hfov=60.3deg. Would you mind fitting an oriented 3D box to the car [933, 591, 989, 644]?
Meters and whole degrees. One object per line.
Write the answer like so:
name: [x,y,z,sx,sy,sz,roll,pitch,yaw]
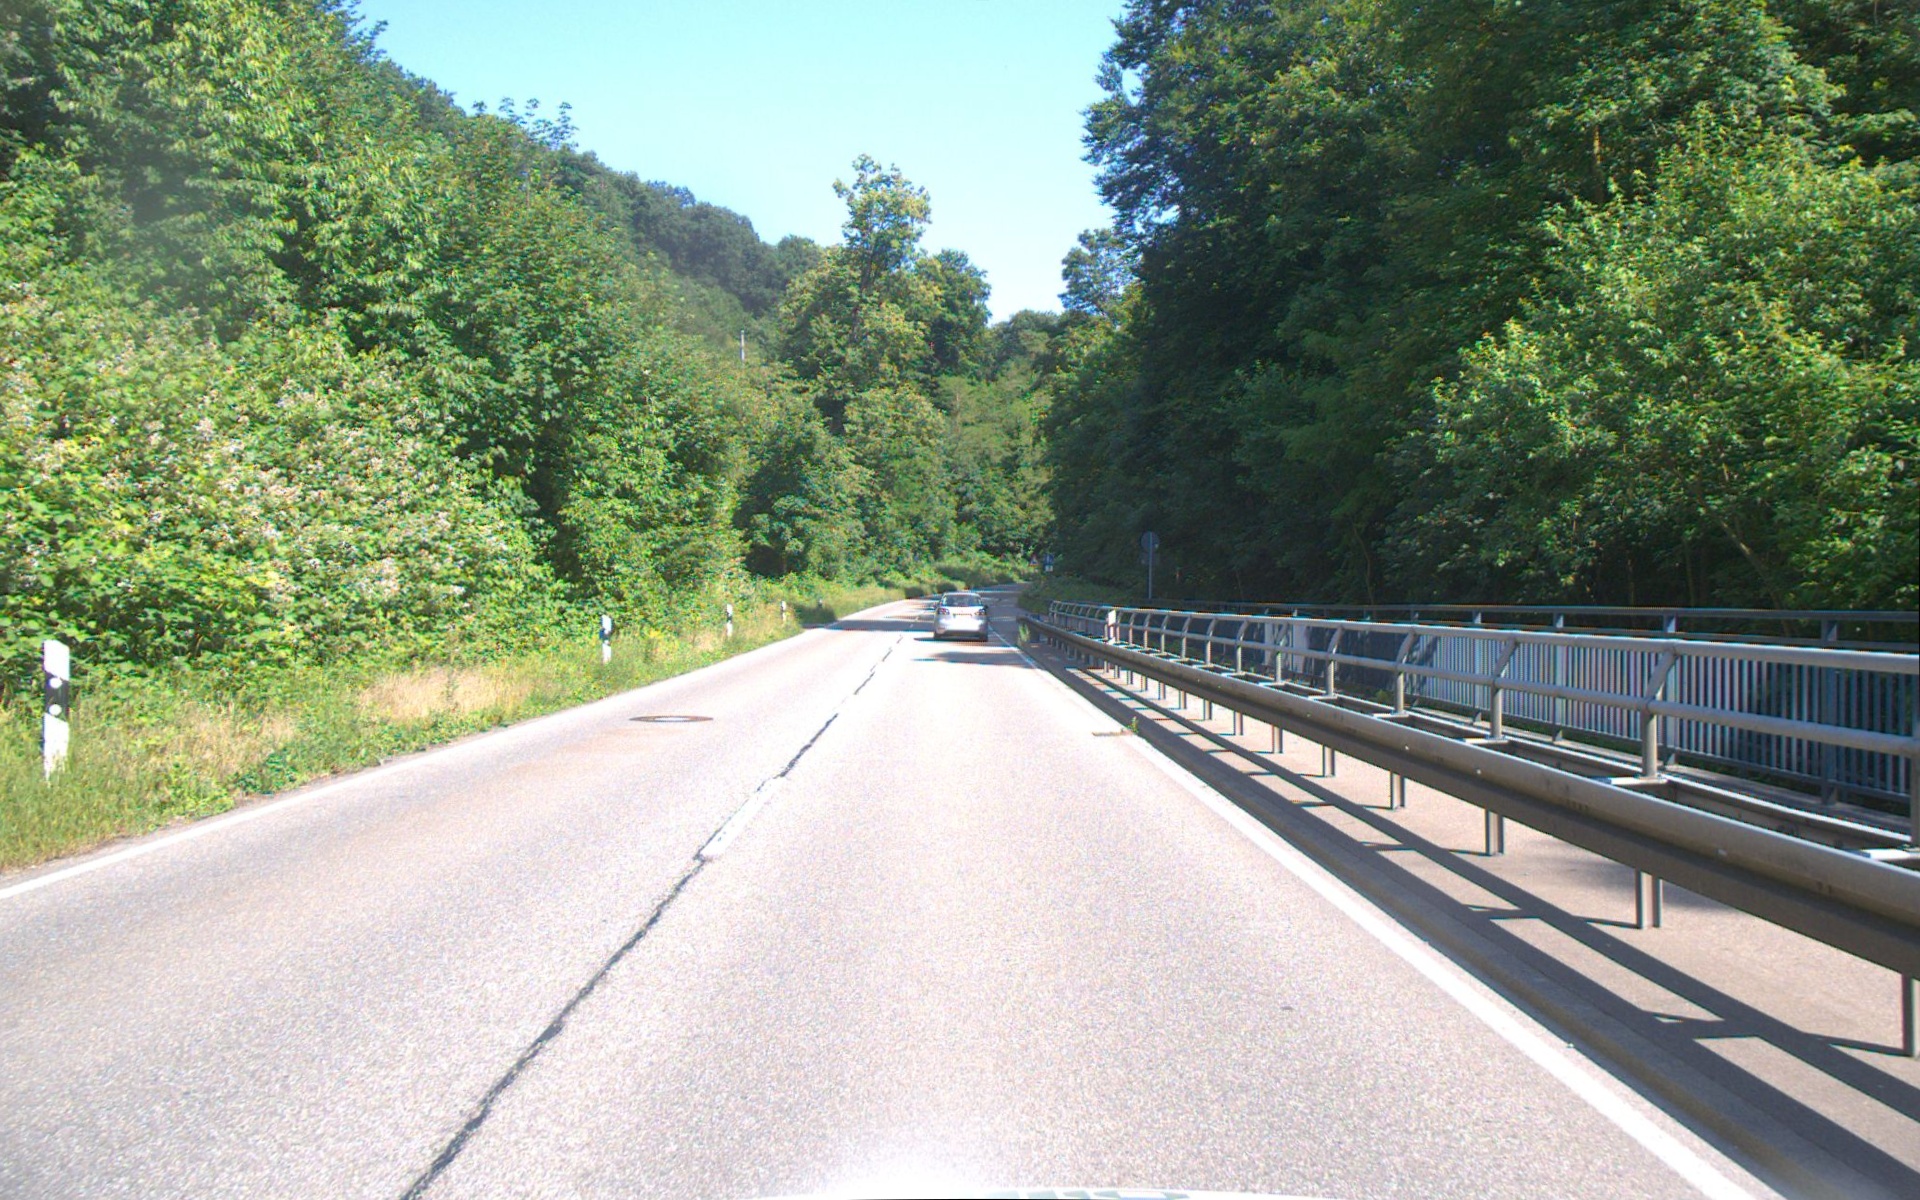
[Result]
car: [0.015,0.523,53.562,1.715,1.546,4.159,1,1,-1]
